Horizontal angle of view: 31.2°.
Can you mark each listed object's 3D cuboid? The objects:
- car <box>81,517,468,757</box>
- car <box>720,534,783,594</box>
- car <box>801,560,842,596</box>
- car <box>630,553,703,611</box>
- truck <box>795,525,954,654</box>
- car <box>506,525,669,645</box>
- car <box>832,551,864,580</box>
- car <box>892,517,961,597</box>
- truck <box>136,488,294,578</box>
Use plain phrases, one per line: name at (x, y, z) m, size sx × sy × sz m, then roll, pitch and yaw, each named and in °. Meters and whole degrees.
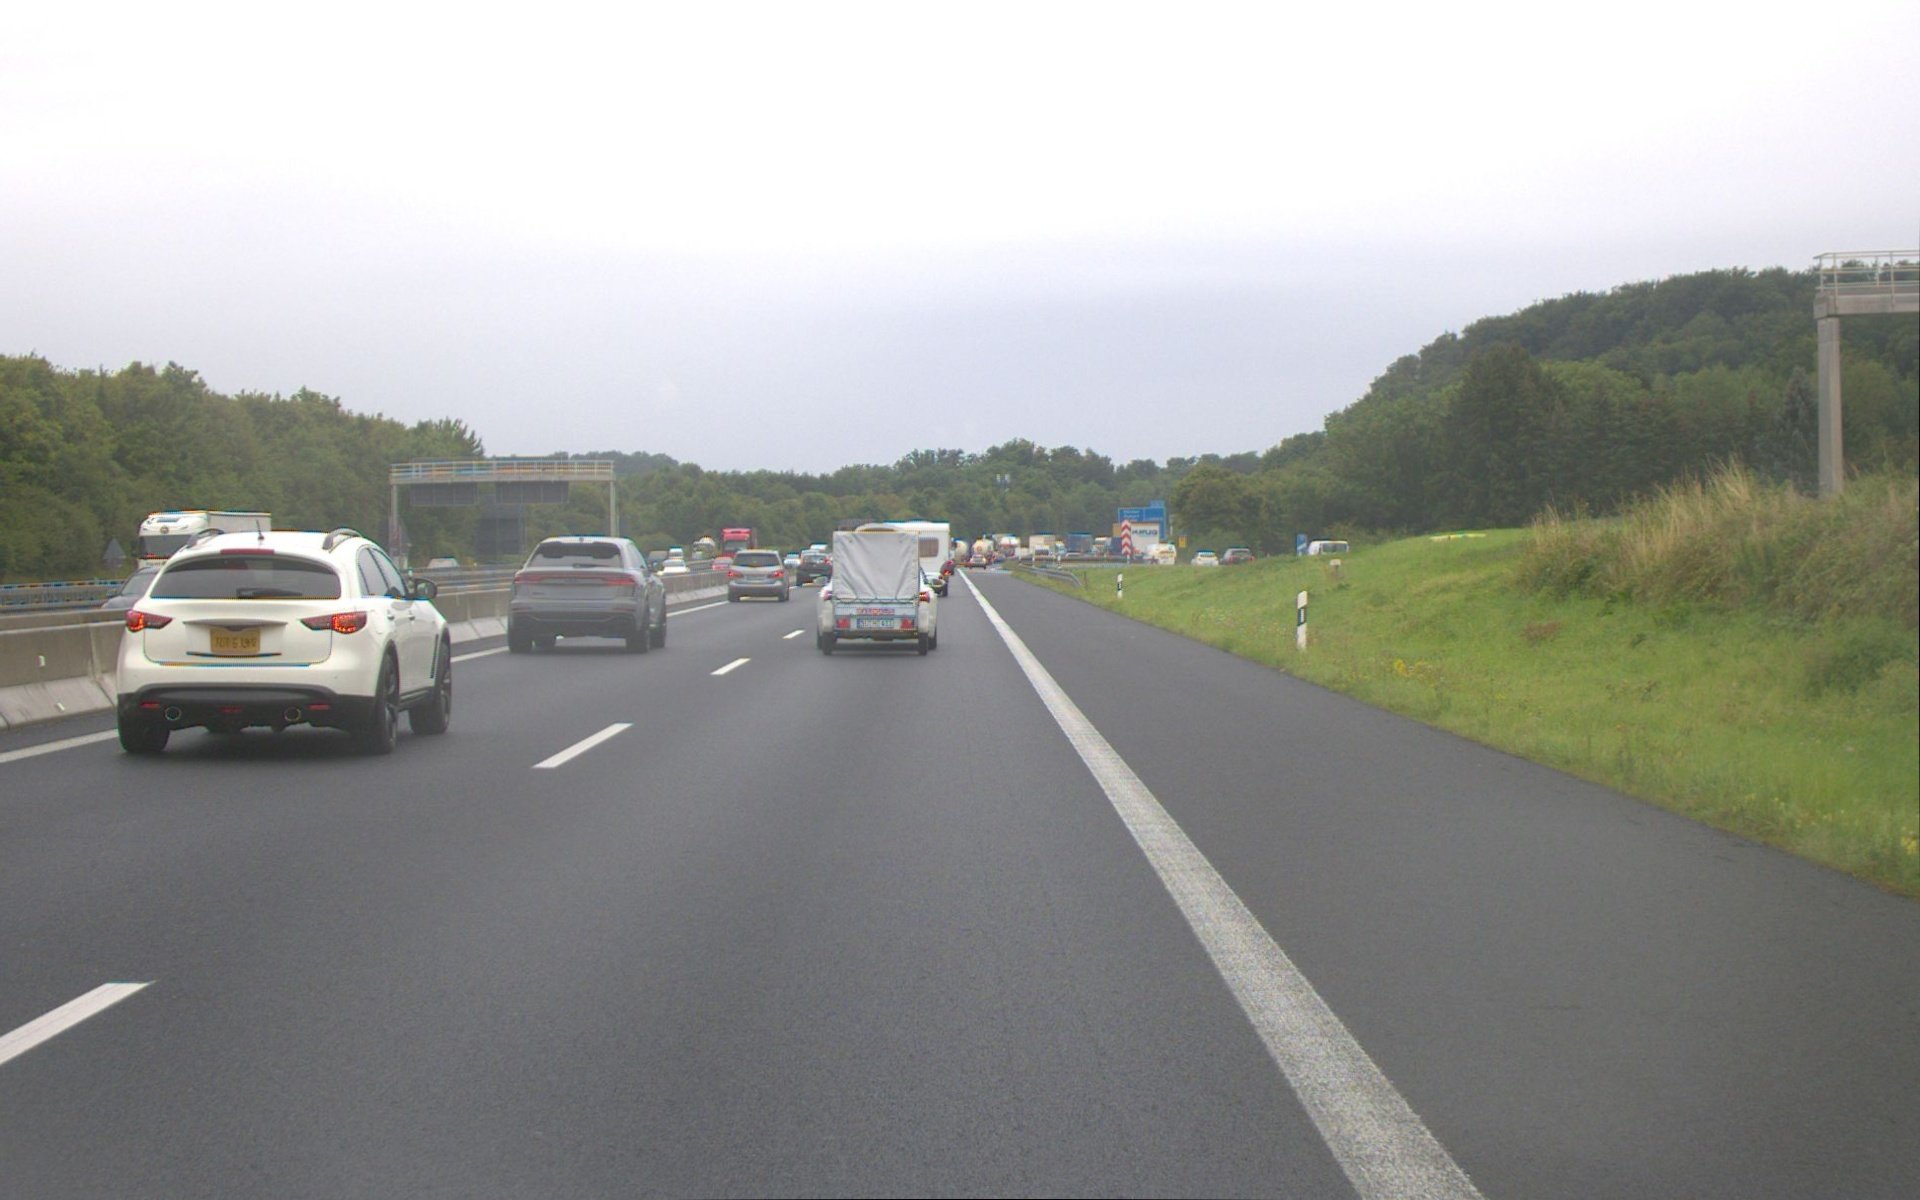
car at (-5.122, 0.223, 26.338) m, size 2.048 × 1.665 × 4.541 m, roll 0°, pitch 1°, yaw 0°
car at (-6.382, -1.110, 105.488) m, size 1.738 × 1.787 × 4.000 m, roll 0°, pitch 1°, yaw -1°
car at (-6.185, -1.007, 153.943) m, size 1.645 × 1.568 × 4.000 m, roll 1°, pitch 1°, yaw 0°
car at (-8.757, -0.556, 102.803) m, size 1.819 × 1.656 × 4.017 m, roll 0°, pitch 1°, yaw 0°
truck at (-1.285, -0.199, 52.331) m, size 2.242 × 1.833 × 6.585 m, roll 0°, pitch 1°, yaw -1°
car at (-5.536, -0.252, 51.595) m, size 1.975 × 1.697 × 4.802 m, roll 1°, pitch 1°, yaw -1°
car at (-6.326, -1.951, 194.687) m, size 1.645 × 1.568 × 4.000 m, roll 1°, pitch 1°, yaw 0°
car at (-1.197, -1.509, 121.009) m, size 2.331 × 2.716 × 6.540 m, roll 1°, pitch 1°, yaw -1°
truck at (-32.984, -2.965, 153.166) m, size 3.178 × 3.795 × 17.135 m, roll 0°, pitch 1°, yaw 1°
